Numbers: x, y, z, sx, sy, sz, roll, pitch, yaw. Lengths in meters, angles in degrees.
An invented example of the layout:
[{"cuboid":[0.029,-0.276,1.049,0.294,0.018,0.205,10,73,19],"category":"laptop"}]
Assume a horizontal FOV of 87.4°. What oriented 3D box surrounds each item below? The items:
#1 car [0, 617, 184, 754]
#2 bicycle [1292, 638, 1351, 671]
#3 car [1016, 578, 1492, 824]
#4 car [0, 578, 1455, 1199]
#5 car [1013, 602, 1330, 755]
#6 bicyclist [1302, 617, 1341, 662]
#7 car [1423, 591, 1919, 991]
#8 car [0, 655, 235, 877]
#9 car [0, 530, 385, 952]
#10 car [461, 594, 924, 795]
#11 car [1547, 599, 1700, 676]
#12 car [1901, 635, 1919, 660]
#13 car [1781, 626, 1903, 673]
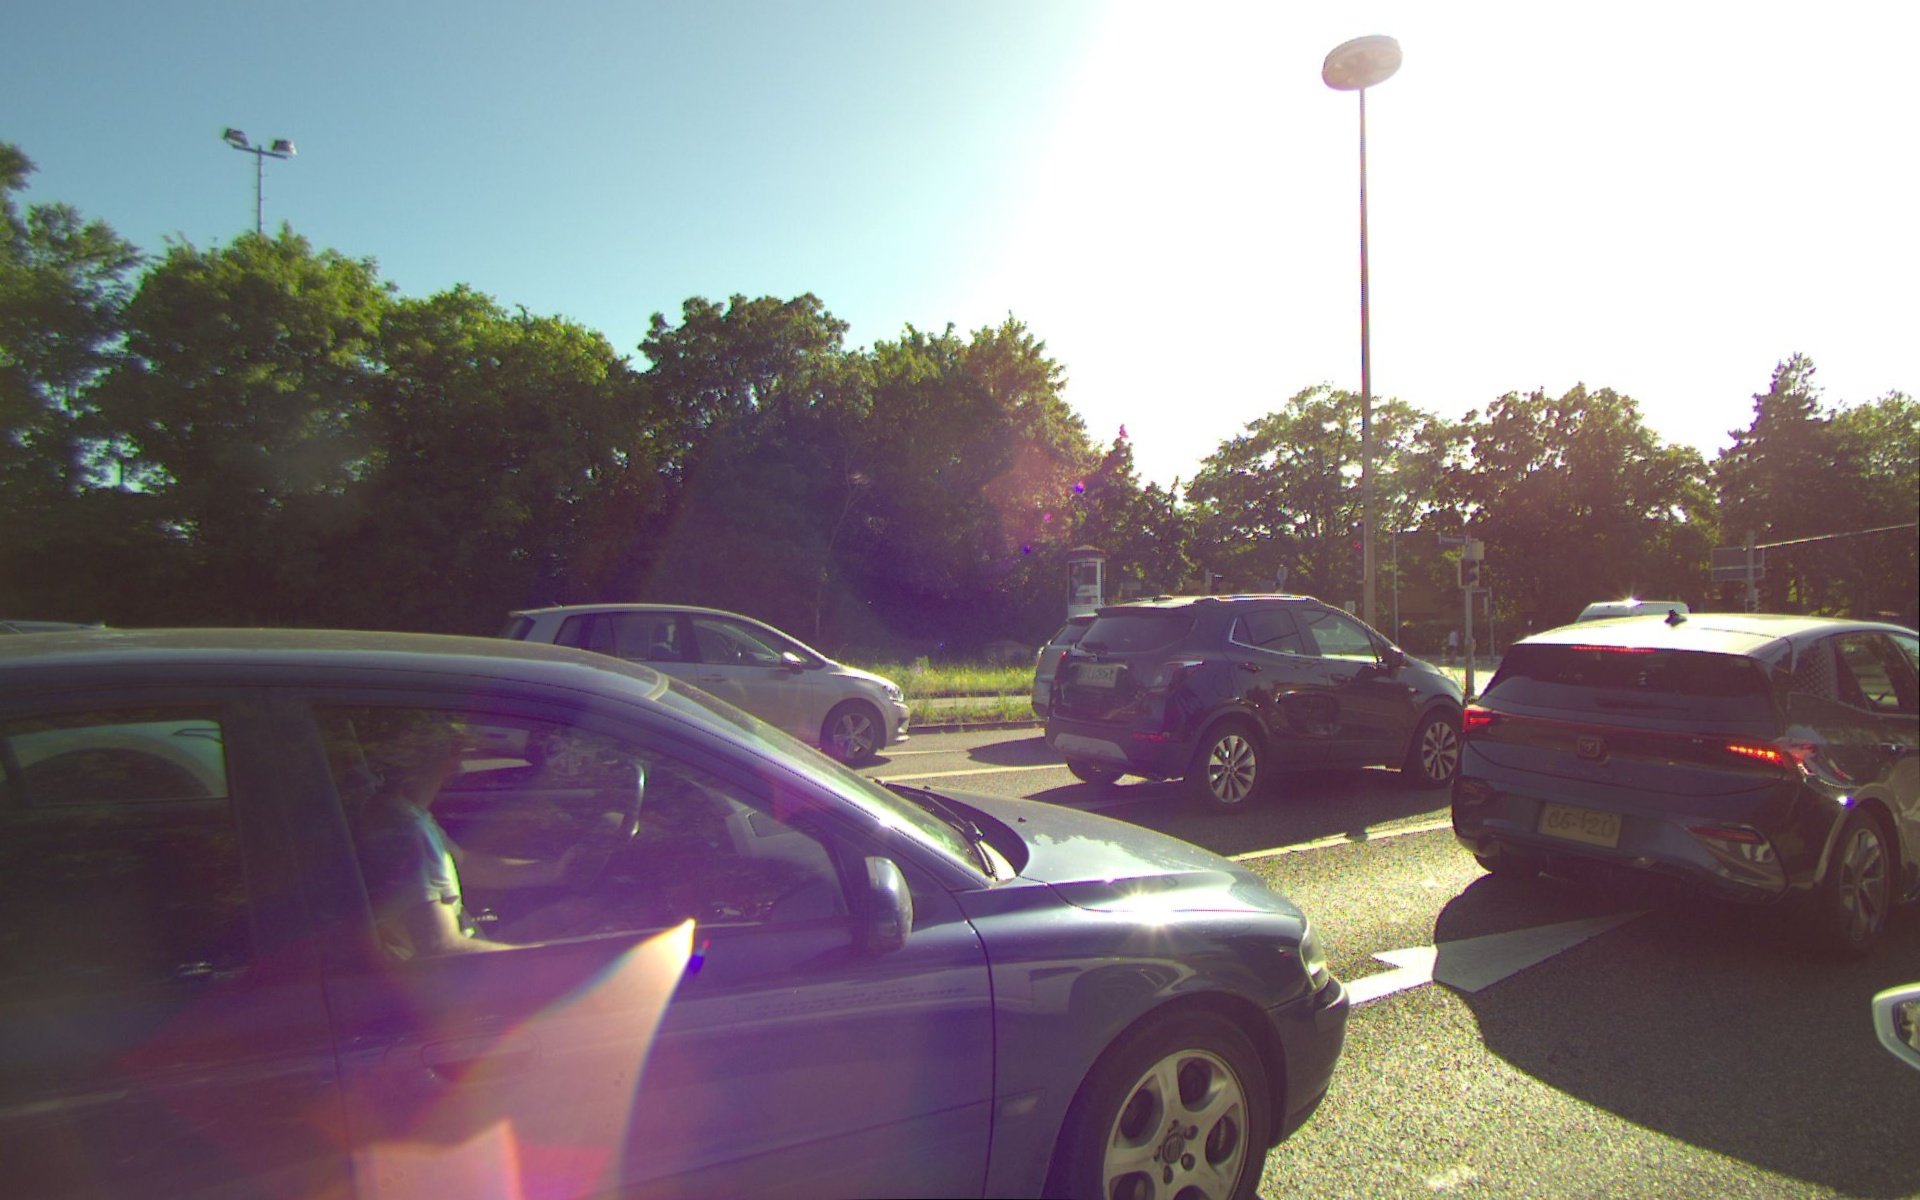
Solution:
[{"cuboid":[-11.455,0.917,10.908,4.561,1.452,1.678,1,-2,-30],"category":"car"},{"cuboid":[13.954,2.083,38.714,2.511,1.228,0.870,1,-2,-35],"category":"bicycle"},{"cuboid":[2.625,0.763,8.796,3.953,1.711,1.796,1,-2,-30],"category":"car"},{"cuboid":[-1.091,0.719,2.203,4.404,1.471,1.767,2,0,-30],"category":"car"},{"cuboid":[2.816,0.947,13.184,3.956,1.724,1.820,1,-2,-32],"category":"car"},{"cuboid":[13.932,1.520,38.705,1.187,1.670,0.870,1,-2,-35],"category":"bicyclist"},{"cuboid":[4.745,0.822,5.818,4.158,1.601,1.676,2,-1,-30],"category":"car"},{"cuboid":[-7.908,1.142,6.943,4.499,1.448,1.822,1,-2,-30],"category":"car"},{"cuboid":[-5.154,0.592,4.565,4.373,1.732,1.984,1,-2,-30],"category":"car"},{"cuboid":[-2.608,0.829,10.008,4.156,1.632,1.822,1,-2,-30],"category":"car"},{"cuboid":[23.450,1.313,35.422,5.934,2.525,2.090,1,-2,-30],"category":"car"},{"cuboid":[50.658,2.453,52.338,3.593,1.251,1.383,1,-2,-30],"category":"car"},{"cuboid":[32.103,1.756,36.539,4.561,1.622,1.984,1,-2,-30],"category":"car"}]
